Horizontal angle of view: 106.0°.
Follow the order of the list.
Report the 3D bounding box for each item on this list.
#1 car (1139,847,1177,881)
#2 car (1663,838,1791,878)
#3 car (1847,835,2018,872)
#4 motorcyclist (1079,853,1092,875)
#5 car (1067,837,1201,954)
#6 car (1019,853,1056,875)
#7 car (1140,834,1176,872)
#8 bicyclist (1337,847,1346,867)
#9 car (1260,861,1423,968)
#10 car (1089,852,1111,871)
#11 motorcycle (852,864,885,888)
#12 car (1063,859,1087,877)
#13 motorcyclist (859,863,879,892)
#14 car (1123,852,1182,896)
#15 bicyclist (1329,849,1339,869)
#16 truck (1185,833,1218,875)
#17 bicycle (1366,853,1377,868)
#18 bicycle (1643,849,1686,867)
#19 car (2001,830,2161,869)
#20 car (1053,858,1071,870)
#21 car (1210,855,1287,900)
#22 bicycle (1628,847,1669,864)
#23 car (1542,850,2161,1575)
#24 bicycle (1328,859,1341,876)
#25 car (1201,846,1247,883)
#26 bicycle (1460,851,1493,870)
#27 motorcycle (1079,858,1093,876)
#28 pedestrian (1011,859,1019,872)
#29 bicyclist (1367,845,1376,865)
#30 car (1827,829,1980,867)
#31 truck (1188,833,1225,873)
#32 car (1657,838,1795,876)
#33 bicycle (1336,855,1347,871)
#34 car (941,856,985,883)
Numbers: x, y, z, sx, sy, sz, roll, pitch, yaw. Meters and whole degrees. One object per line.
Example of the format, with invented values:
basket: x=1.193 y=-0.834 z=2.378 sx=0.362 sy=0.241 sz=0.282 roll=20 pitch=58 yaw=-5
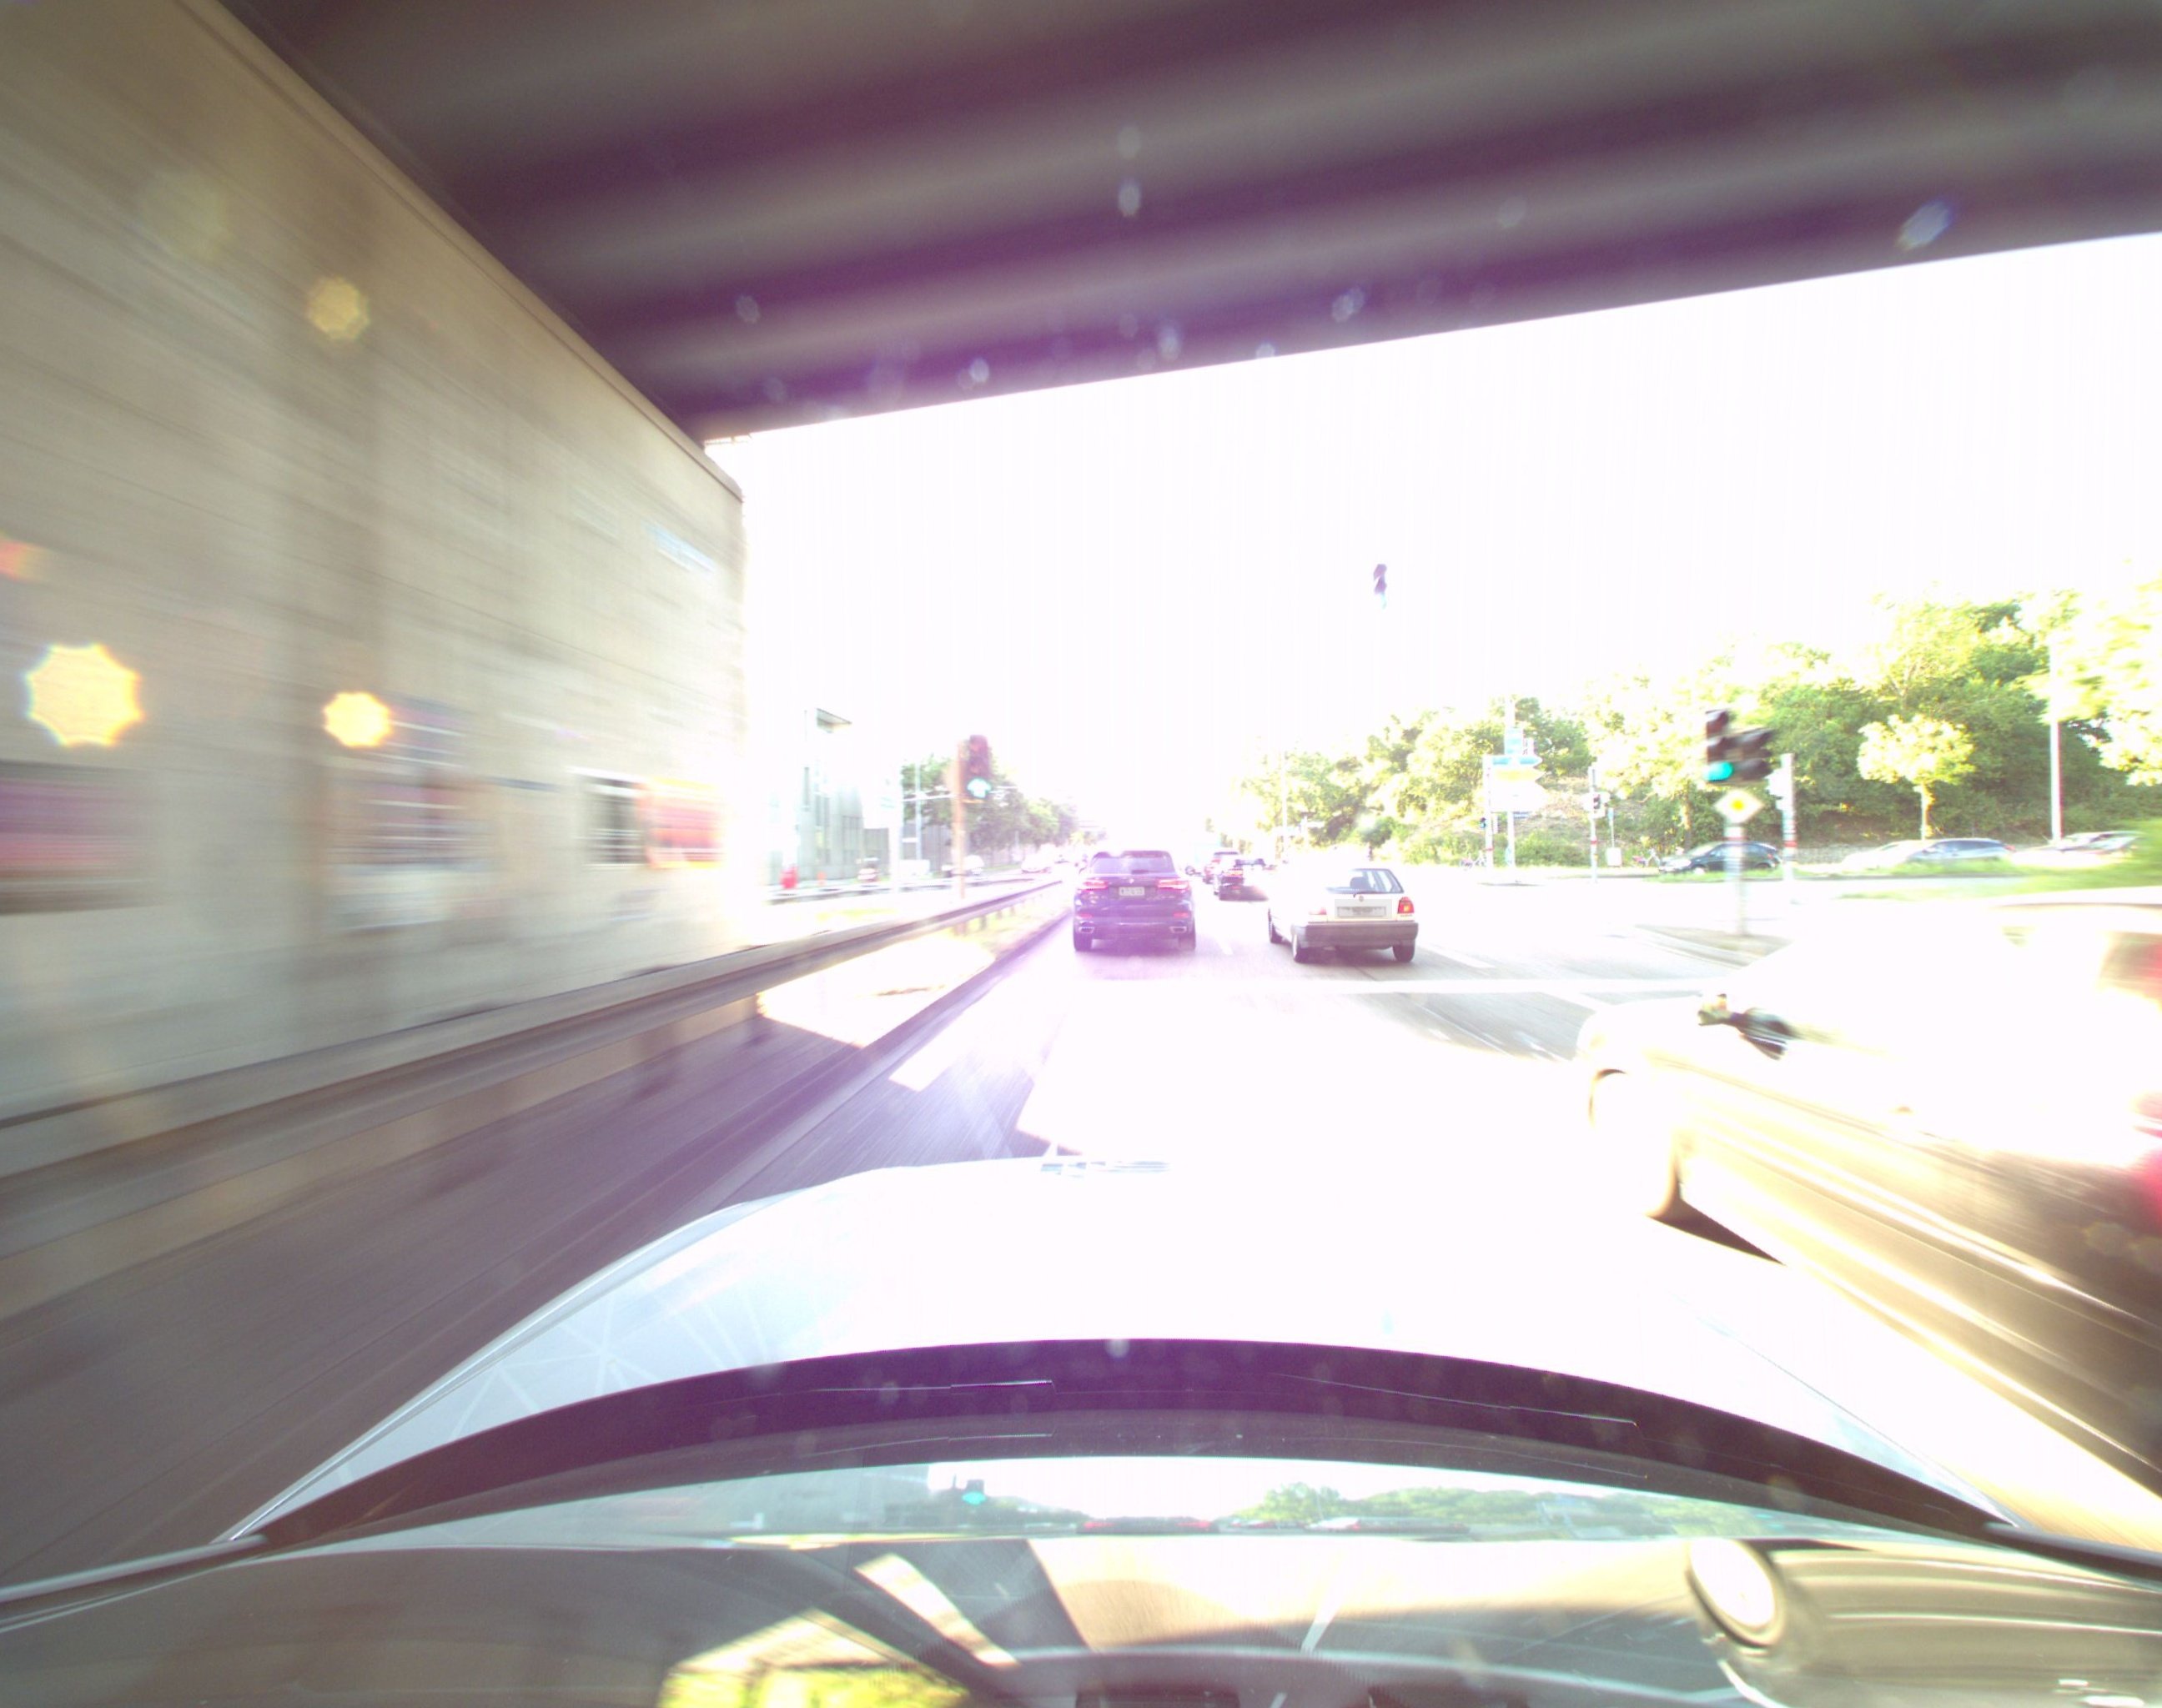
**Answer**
car: x=4.024 y=0.500 z=42.022 sx=1.606 sy=1.679 sz=3.694 roll=0 pitch=-1 yaw=11
car: x=27.904 y=0.193 z=35.308 sx=3.961 sy=1.694 sz=1.868 roll=0 pitch=-1 yaw=11
car: x=33.520 y=0.012 z=32.206 sx=4.299 sy=1.407 sz=2.047 roll=0 pitch=-1 yaw=11
motorcyclist: x=0.310 y=0.666 z=54.671 sx=0.795 sy=1.349 sz=1.274 roll=-3 pitch=1 yaw=-1
car: x=1.016 y=0.648 z=14.387 sx=1.984 sy=1.734 sz=4.539 roll=0 pitch=-1 yaw=6
car: x=-2.957 y=0.681 z=56.279 sx=1.984 sy=1.475 sz=4.085 roll=0 pitch=-1 yaw=5
car: x=5.346 y=-0.025 z=57.312 sx=2.129 sy=2.576 sz=5.087 roll=0 pitch=-1 yaw=1
bicyclist: x=15.885 y=0.192 z=49.706 sx=0.425 sy=1.233 sz=0.460 roll=-2 pitch=-1 yaw=6
car: x=3.892 y=0.830 z=12.827 sx=1.571 sy=1.413 sz=4.067 roll=0 pitch=-1 yaw=5
car: x=1.627 y=0.667 z=69.584 sx=1.696 sy=1.452 sz=3.859 roll=-5 pitch=-1 yaw=1
motorcycle: x=-10.475 y=1.072 z=40.234 sx=0.676 sy=1.156 sz=2.244 roll=0 pitch=-1 yaw=9
car: x=-0.543 y=1.445 z=85.010 sx=1.984 sy=1.592 sz=4.720 roll=-5 pitch=-1 yaw=4
motorcyclist: x=-10.462 y=1.156 z=40.256 sx=0.677 sy=1.424 sz=0.869 roll=0 pitch=-1 yaw=8
car: x=2.518 y=0.665 z=28.139 sx=1.606 sy=1.410 sz=3.694 roll=0 pitch=-1 yaw=12
bicyclist: x=17.235 y=0.343 z=55.466 sx=0.541 sy=1.316 sz=0.836 roll=0 pitch=-1 yaw=5
truck: x=7.957 y=0.014 z=54.070 sx=1.986 sy=2.669 sz=4.006 roll=0 pitch=-1 yaw=6
bicycle: x=18.578 y=0.427 z=52.096 sx=0.435 sy=0.914 sz=1.028 roll=0 pitch=-1 yaw=6
bicycle: x=31.801 y=0.229 z=44.401 sx=1.777 sy=0.980 sz=0.642 roll=0 pitch=1 yaw=19
car: x=41.860 y=-0.163 z=33.926 sx=4.299 sy=1.568 sz=2.047 roll=0 pitch=-1 yaw=11
car: x=-2.698 y=1.471 z=117.489 sx=1.984 sy=1.592 sz=4.720 roll=-5 pitch=-1 yaw=4
car: x=5.199 y=0.711 z=25.782 sx=1.984 sy=1.295 sz=4.006 roll=0 pitch=-1 yaw=6
bicycle: x=31.921 y=0.096 z=45.831 sx=1.777 sy=0.980 sz=0.642 roll=0 pitch=-1 yaw=19
car: x=2.992 y=0.708 z=2.311 sx=1.608 sy=1.410 sz=3.689 roll=0 pitch=-1 yaw=6
bicycle: x=17.226 y=0.912 z=55.405 sx=0.562 sy=1.112 sz=1.624 roll=0 pitch=-1 yaw=6
car: x=6.496 y=0.482 z=37.312 sx=1.787 sy=1.559 sz=4.006 roll=0 pitch=-1 yaw=6
bicycle: x=22.785 y=0.375 z=46.959 sx=1.648 sy=0.991 sz=0.581 roll=-2 pitch=2 yaw=22
motorcycle: x=0.306 y=0.849 z=54.653 sx=0.837 sy=1.076 sz=2.400 roll=-4 pitch=0 yaw=-1
pedestrian: x=-10.347 y=1.739 z=127.386 sx=1.013 sy=2.014 sz=0.963 roll=0 pitch=-1 yaw=6
bicyclist: x=18.583 y=0.075 z=52.133 sx=0.425 sy=1.309 sz=0.460 roll=0 pitch=-1 yaw=6
car: x=35.645 y=-0.231 z=35.426 sx=4.299 sy=1.568 sz=2.047 roll=0 pitch=-1 yaw=11
truck: x=7.549 y=-0.018 z=49.336 sx=1.986 sy=2.315 sz=4.006 roll=0 pitch=-1 yaw=6
car: x=26.256 y=0.136 z=33.316 sx=3.961 sy=1.530 sz=2.006 roll=0 pitch=-1 yaw=11
bicycle: x=15.895 y=0.552 z=49.688 sx=0.435 sy=0.914 sz=1.028 roll=-3 pitch=-1 yaw=6
car: x=-8.328 y=1.081 z=58.075 sx=1.984 sy=1.696 sz=4.686 roll=-5 pitch=-1 yaw=4
